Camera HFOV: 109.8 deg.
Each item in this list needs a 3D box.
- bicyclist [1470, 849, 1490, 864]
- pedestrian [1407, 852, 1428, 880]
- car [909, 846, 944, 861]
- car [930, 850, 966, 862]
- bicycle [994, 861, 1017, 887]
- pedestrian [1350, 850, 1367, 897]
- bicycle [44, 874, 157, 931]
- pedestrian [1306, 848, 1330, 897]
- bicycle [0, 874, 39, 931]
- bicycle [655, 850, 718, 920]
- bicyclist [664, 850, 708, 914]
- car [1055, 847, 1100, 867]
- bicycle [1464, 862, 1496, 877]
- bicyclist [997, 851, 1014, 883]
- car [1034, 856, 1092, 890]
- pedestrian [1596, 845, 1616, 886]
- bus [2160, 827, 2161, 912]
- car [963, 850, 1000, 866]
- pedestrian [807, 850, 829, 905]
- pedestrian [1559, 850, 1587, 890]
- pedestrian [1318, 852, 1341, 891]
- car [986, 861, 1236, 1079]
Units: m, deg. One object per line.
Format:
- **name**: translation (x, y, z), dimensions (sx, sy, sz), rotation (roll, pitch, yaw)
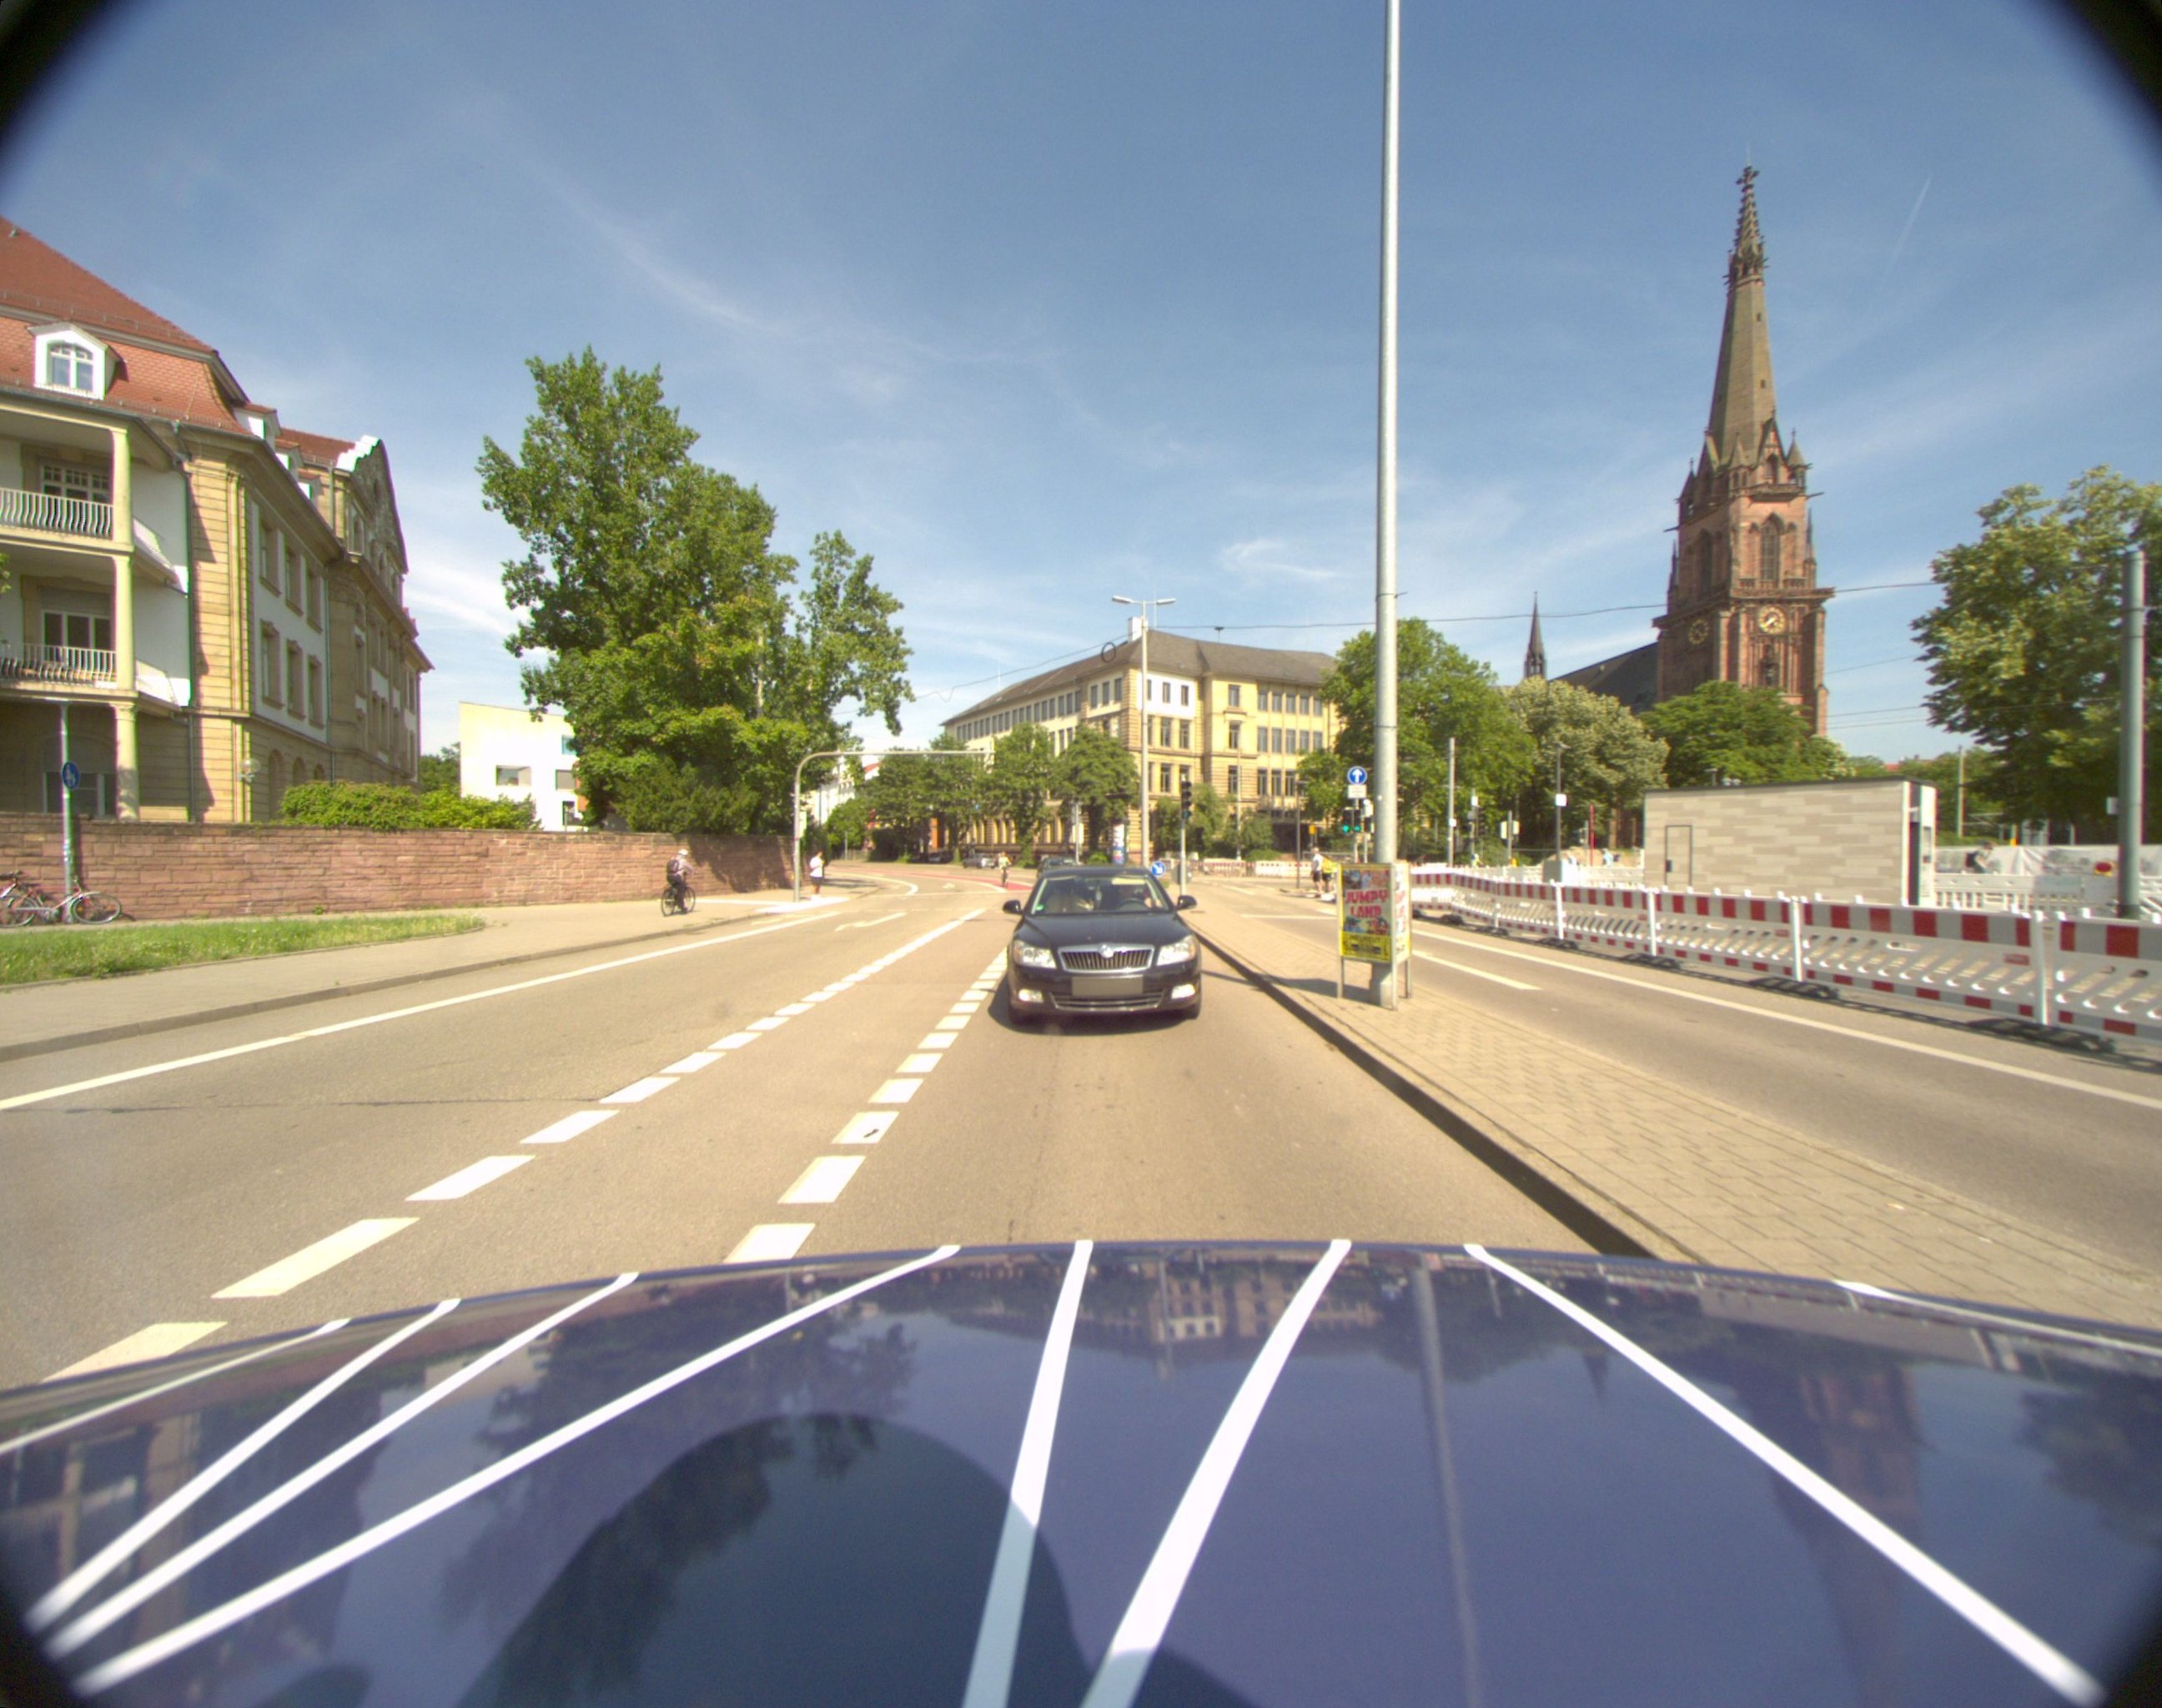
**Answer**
- **bicyclist**: translation (25.199, 0.152, 47.995), dimensions (0.684, 0.922, 0.867), rotation (-1, 1, -38)
- **pedestrian**: translation (19.808, 0.695, 44.719), dimensions (0.939, 1.646, 0.845), rotation (0, 1, 9)
- **car**: translation (-20.462, -0.104, 100.715), dimensions (4.008, 2.002, 1.994), rotation (0, 1, -35)
- **car**: translation (-16.774, 0.253, 96.171), dimensions (4.008, 1.455, 1.994), rotation (0, 1, -35)
- **bicycle**: translation (-3.764, 0.962, 37.860), dimensions (0.687, 1.215, 2.183), rotation (0, 1, -18)
- **pedestrian**: translation (9.630, 0.674, 26.401), dimensions (0.350, 1.606, 0.686), rotation (0, 1, 2)
- **bicycle**: translation (-20.599, 0.996, 15.990), dimensions (0.348, 1.116, 1.438), rotation (1, 1, 35)
- **pedestrian**: translation (8.817, 0.676, 28.297), dimensions (0.840, 1.802, 0.650), rotation (0, 0, 17)
- **bicycle**: translation (-21.523, 0.969, 14.787), dimensions (0.348, 1.116, 1.437), rotation (1, 1, 15)
- **bicycle**: translation (-10.332, 0.777, 19.961), dimensions (0.680, 1.755, 1.811), rotation (0, 1, 1)
- **bicyclist**: translation (-10.329, 0.713, 19.899), dimensions (0.680, 1.646, 0.919), rotation (0, 1, 1)
- **car**: translation (-0.323, 0.241, 58.756), dimensions (1.675, 1.442, 3.807), rotation (1, 1, -32)
- **bicycle**: translation (25.209, 0.969, 47.991), dimensions (0.703, 0.941, 1.661), rotation (-1, 1, -39)
- **bicyclist**: translation (-3.743, 0.627, 37.748), dimensions (0.589, 1.539, 0.930), rotation (-3, 2, -18)
- **car**: translation (-0.890, 0.825, 35.243), dimensions (1.804, 1.368, 4.271), rotation (-1, 1, -14)
- **pedestrian**: translation (21.059, 0.460, 30.474), dimensions (0.584, 1.606, 0.691), rotation (0, 1, 41)
- **bus**: translation (35.816, -0.027, 17.448), dimensions (2.867, 3.469, 12.624), rotation (0, 1, -34)
- **car**: translation (-9.549, 0.377, 72.881), dimensions (1.803, 1.403, 3.988), rotation (1, 1, -36)
- **pedestrian**: translation (-9.188, 0.805, 26.537), dimensions (0.654, 1.863, 0.795), rotation (2, 1, -18)
- **pedestrian**: translation (20.009, 0.626, 30.925), dimensions (0.663, 1.606, 0.792), rotation (-1, 1, -39)
- **pedestrian**: translation (10.020, 0.720, 30.630), dimensions (0.424, 1.534, 0.666), rotation (-4, 1, -44)
- **car**: translation (0.115, 0.886, 8.090), dimensions (1.864, 1.510, 4.825), rotation (0, 1, -3)
